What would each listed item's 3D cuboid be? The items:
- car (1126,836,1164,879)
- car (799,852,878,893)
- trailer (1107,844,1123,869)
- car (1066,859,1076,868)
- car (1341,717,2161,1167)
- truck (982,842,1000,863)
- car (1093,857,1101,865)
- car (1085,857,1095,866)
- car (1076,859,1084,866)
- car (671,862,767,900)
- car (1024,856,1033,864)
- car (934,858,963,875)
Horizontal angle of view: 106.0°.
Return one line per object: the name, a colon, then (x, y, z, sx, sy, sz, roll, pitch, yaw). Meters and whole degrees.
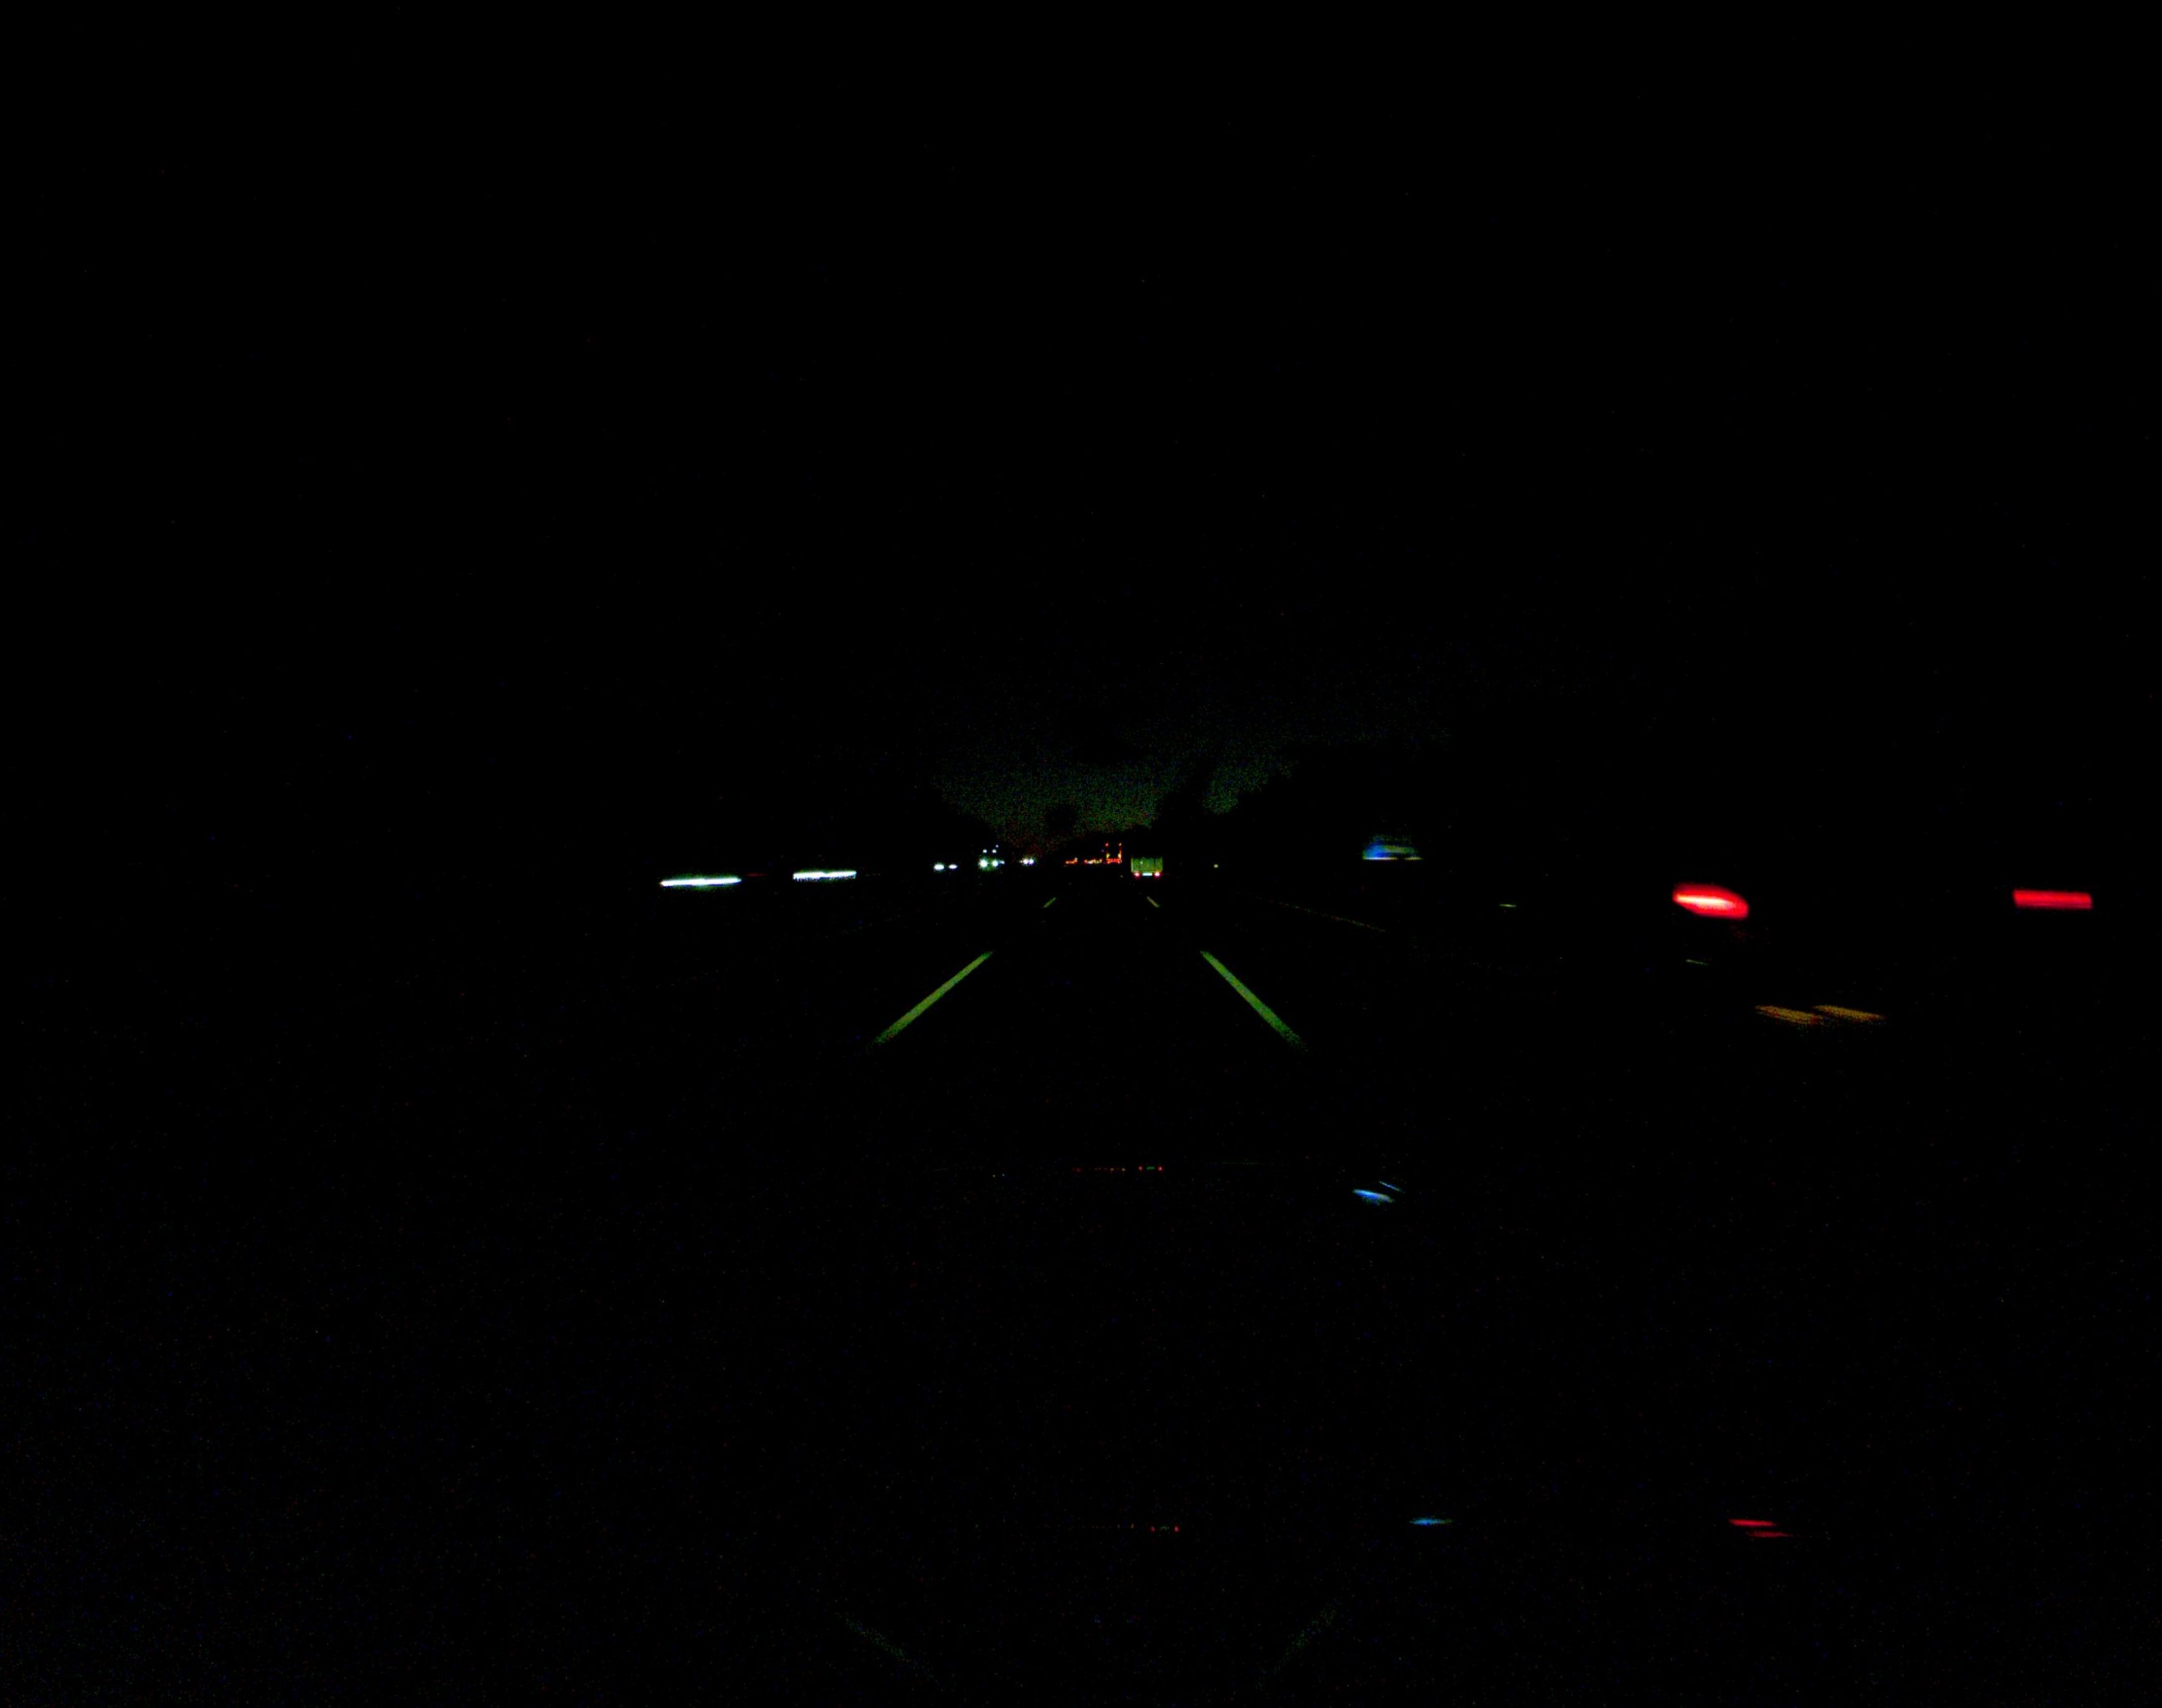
car: (4.051, 0.237, 52.700, 2.025, 2.647, 5.725, -1, -1, 1)
car: (-10.811, 0.786, 36.603, 2.002, 1.670, 4.485, -1, 0, 2)
trailer: (6.393, 0.565, 155.226, 2.819, 4.257, 17.049, -1, -2, 1)
car: (-2.022, 1.926, 163.091, 1.987, 1.794, 3.999, -1, -2, 0)
car: (3.963, 0.425, 6.508, 2.107, 2.001, 5.666, -1, -1, 2)
truck: (-17.010, -0.234, 154.282, 2.844, 3.980, 5.859, -1, 0, 0)
car: (4.098, 1.774, 204.586, 1.987, 2.117, 3.999, -1, -2, 0)
car: (1.982, 1.639, 173.057, 1.985, 1.794, 4.002, -1, -2, 3)
car: (-0.225, 2.265, 217.265, 1.986, 1.816, 4.000, -1, -2, 1)
car: (-15.129, 1.087, 34.296, 2.002, 1.467, 4.210, -1, 0, 2)
car: (-14.464, 1.637, 225.291, 2.238, 2.101, 5.711, -1, 0, -2)
car: (-13.724, 1.269, 84.842, 2.002, 1.669, 4.951, -1, 0, 2)
